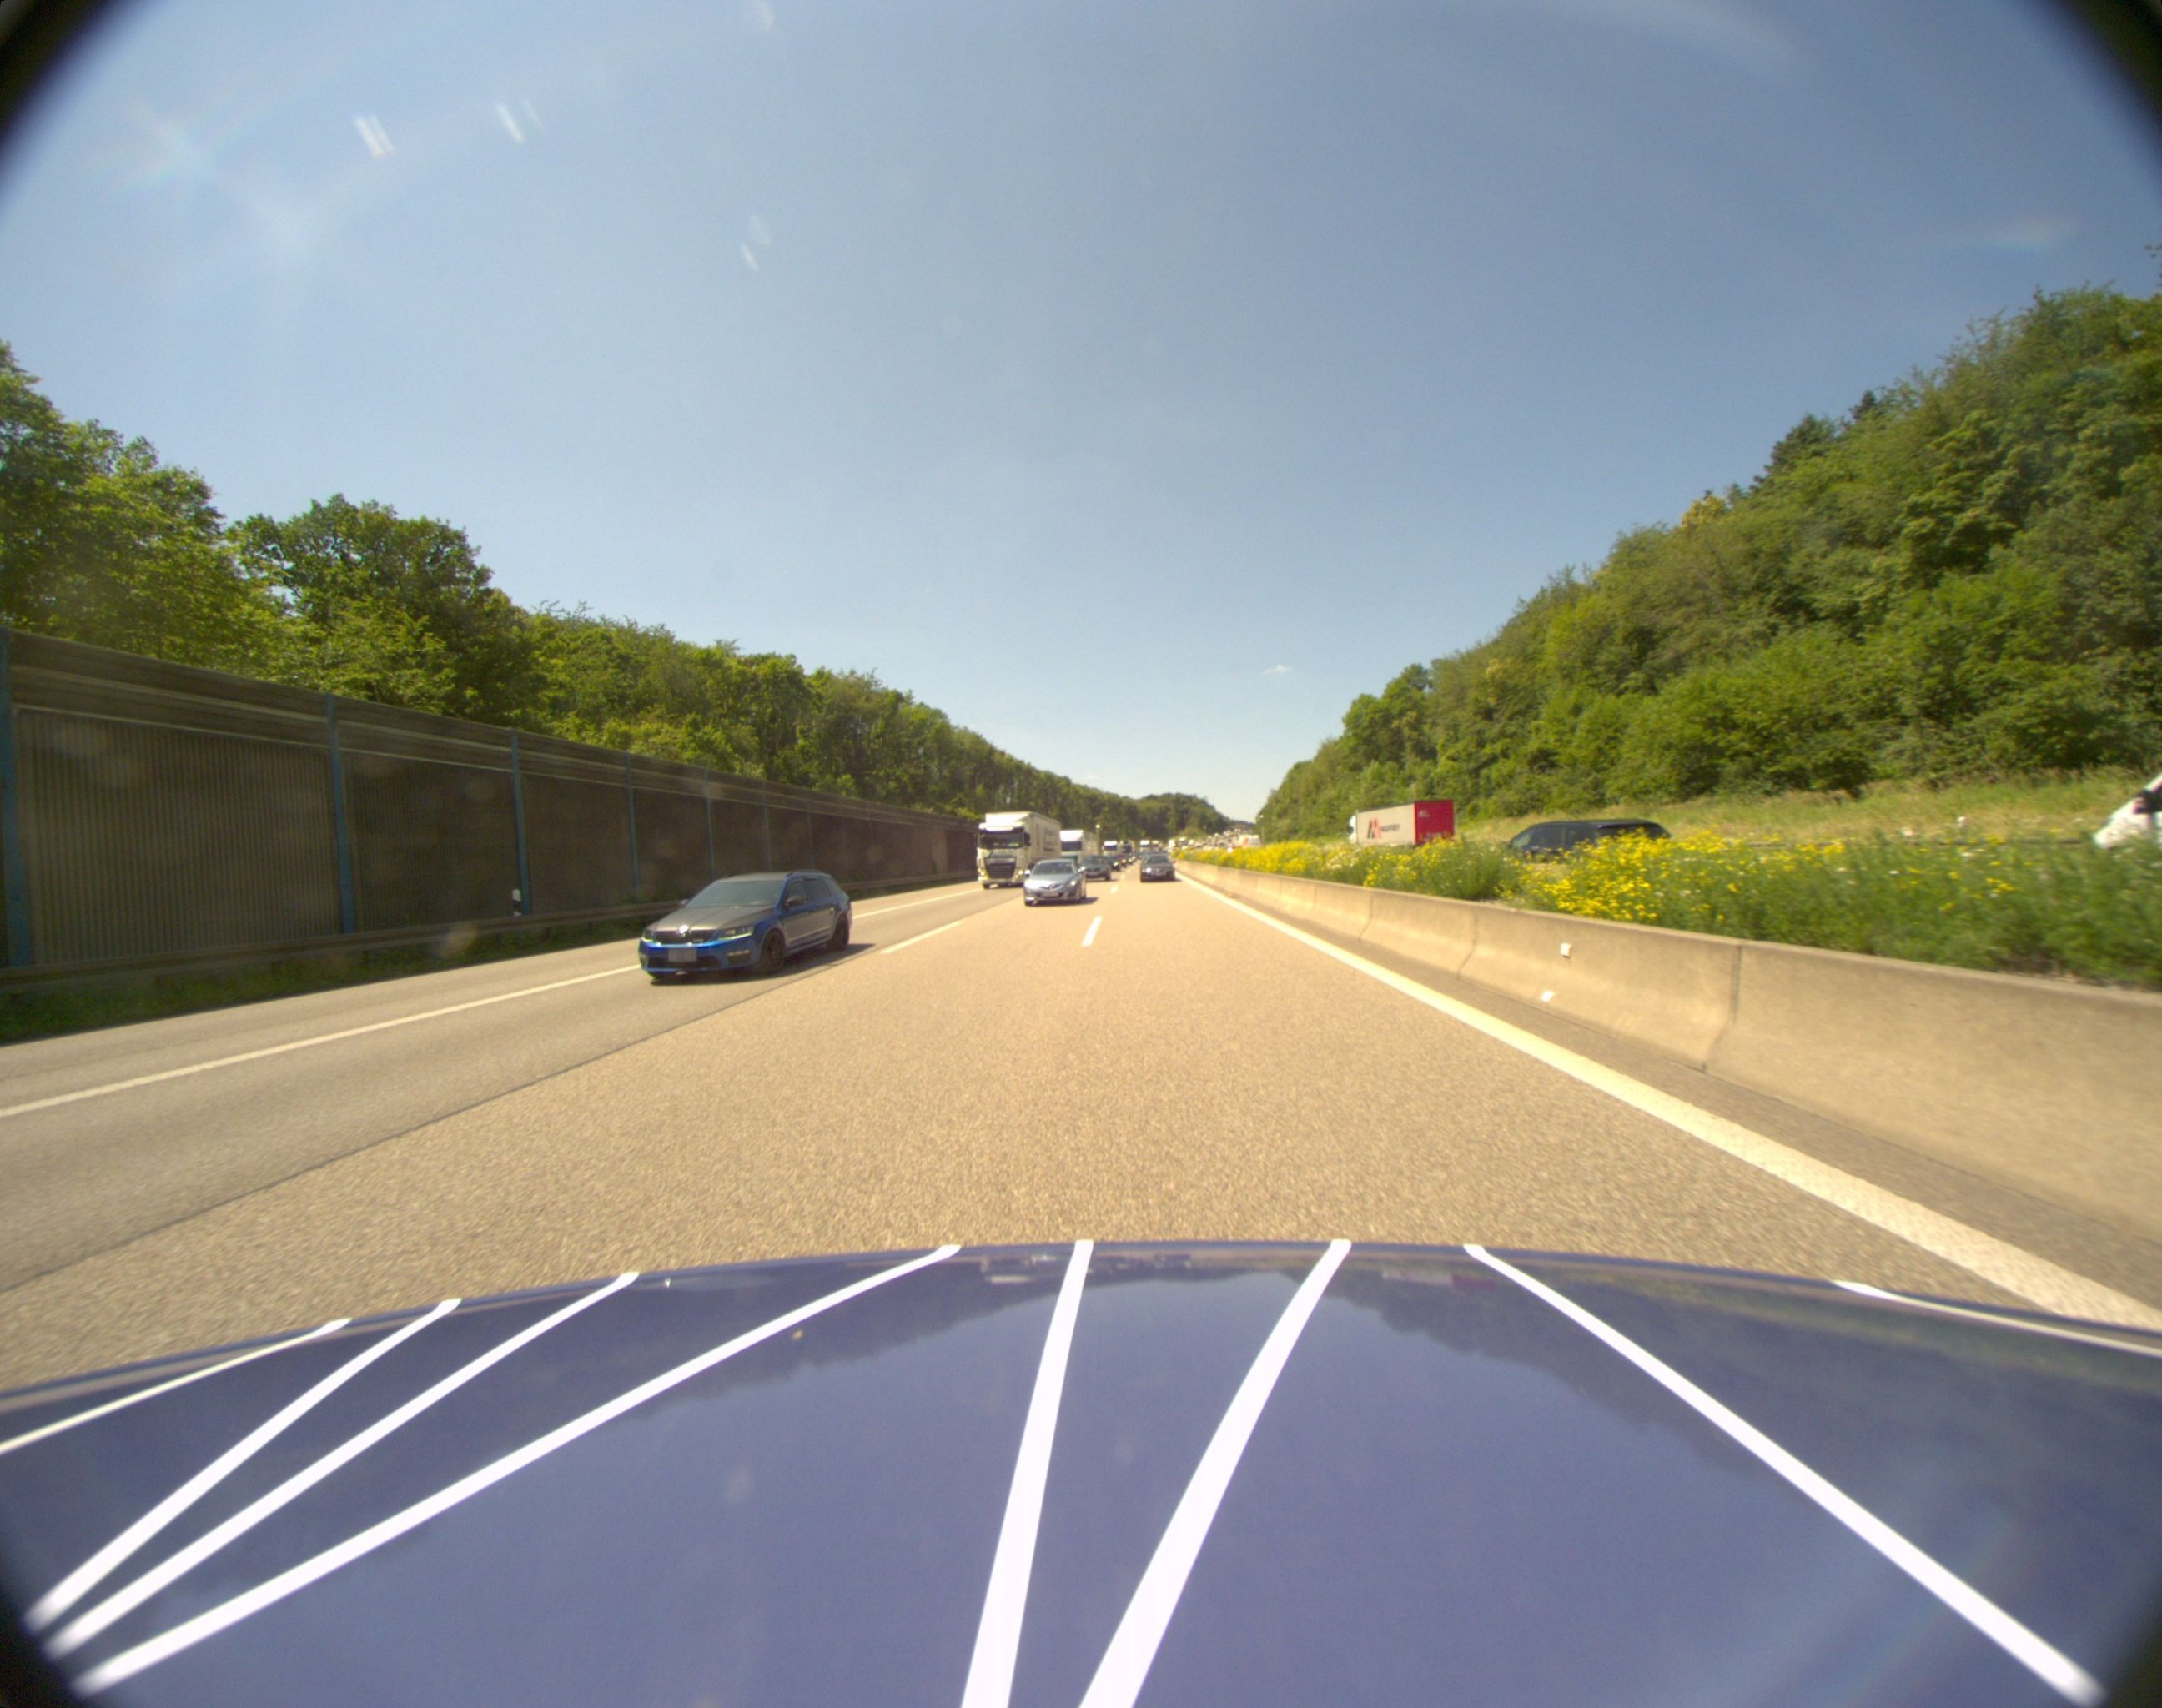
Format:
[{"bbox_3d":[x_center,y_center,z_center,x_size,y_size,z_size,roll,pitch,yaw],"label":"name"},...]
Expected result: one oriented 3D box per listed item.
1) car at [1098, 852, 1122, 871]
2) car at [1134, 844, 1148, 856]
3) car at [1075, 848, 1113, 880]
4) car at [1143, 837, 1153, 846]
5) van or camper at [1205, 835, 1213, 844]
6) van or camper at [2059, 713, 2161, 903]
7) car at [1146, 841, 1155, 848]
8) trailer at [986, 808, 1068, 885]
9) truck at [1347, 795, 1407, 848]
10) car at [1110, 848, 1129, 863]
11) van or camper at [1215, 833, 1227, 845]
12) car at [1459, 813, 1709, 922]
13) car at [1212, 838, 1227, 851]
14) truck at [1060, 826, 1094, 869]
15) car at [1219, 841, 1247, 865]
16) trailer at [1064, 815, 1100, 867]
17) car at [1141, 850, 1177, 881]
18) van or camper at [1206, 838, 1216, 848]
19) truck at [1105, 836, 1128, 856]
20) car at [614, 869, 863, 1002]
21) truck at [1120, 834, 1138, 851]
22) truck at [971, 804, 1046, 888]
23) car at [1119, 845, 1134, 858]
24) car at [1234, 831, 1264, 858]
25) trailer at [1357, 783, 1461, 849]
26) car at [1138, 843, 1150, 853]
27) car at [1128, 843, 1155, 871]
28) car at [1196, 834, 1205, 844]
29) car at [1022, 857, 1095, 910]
[{"bbox_3d":[2.608,0.607,67.419,1.801,1.521,3.797,-3,0,6],"label":"car"},{"bbox_3d":[9.519,-0.607,120.426,1.997,1.728,4.001,-2,2,8],"label":"car"},{"bbox_3d":[0.791,0.548,44.445,1.887,1.696,4.085,-3,0,5],"label":"car"},{"bbox_3d":[20.454,-3.776,231.742,2.696,2.468,6.587,-2,2,9],"label":"car"},{"bbox_3d":[42.434,-4.724,251.618,2.262,2.882,6.559,-1,1,6],"label":"van or camper"},{"bbox_3d":[16.225,-0.676,8.762,2.090,2.685,6.153,-3,0,3],"label":"van or camper"},{"bbox_3d":[18.803,-2.583,205.176,1.997,1.728,4.002,-2,2,11],"label":"car"},{"bbox_3d":[-3.137,-0.450,49.110,2.791,4.180,13.249,-3,0,6],"label":"trailer"},{"bbox_3d":[24.596,-2.657,63.457,2.970,4.084,6.088,-2,2,4],"label":"truck"},{"bbox_3d":[4.227,0.146,82.683,1.801,1.521,3.797,-3,0,6],"label":"car"},{"bbox_3d":[40.260,-4.339,219.083,2.545,3.299,9.003,-2,2,5],"label":"van or camper"},{"bbox_3d":[9.375,0.163,14.747,1.928,1.700,4.627,-3,2,3],"label":"car"},{"bbox_3d":[23.340,-1.580,128.040,1.882,2.002,4.000,-2,2,3],"label":"car"},{"bbox_3d":[-0.331,-0.701,74.349,2.541,4.007,6.626,-2,2,5],"label":"truck"},{"bbox_3d":[14.133,-0.124,70.928,1.998,2.002,4.000,-2,2,4],"label":"car"},{"bbox_3d":[0.313,-1.480,82.663,2.573,5.012,15.272,-2,2,5],"label":"trailer"},{"bbox_3d":[4.098,0.570,40.461,1.720,1.470,4.001,-3,1,4],"label":"car"},{"bbox_3d":[28.507,-2.413,166.389,1.696,2.001,4.214,-2,1,5],"label":"van or camper"},{"bbox_3d":[6.373,-1.440,136.888,3.261,3.337,6.866,-2,2,9],"label":"truck"},{"bbox_3d":[-5.115,1.108,12.157,1.654,1.474,4.481,-3,1,4],"label":"car"},{"bbox_3d":[10.689,-2.594,168.924,3.557,3.695,7.552,-2,2,6],"label":"truck"},{"bbox_3d":[-3.867,-0.397,42.016,2.791,4.180,5.872,-3,0,6],"label":"truck"},{"bbox_3d":[5.988,-0.360,100.004,1.801,1.521,3.797,-3,0,6],"label":"car"},{"bbox_3d":[19.095,-1.105,86.804,2.073,2.879,7.463,-2,0,4],"label":"car"},{"bbox_3d":[24.017,-2.661,56.631,2.932,4.208,13.065,-2,2,4],"label":"trailer"},{"bbox_3d":[11.742,-1.128,141.106,1.997,1.728,4.001,-2,2,8],"label":"car"},{"bbox_3d":[4.781,0.223,60.493,1.998,2.002,4.000,-2,2,4],"label":"car"},{"bbox_3d":[36.183,-4.478,230.768,2.205,2.725,5.748,-2,0,5],"label":"car"},{"bbox_3d":[-0.647,0.911,25.125,1.886,1.459,4.249,-3,0,5],"label":"car"}]
